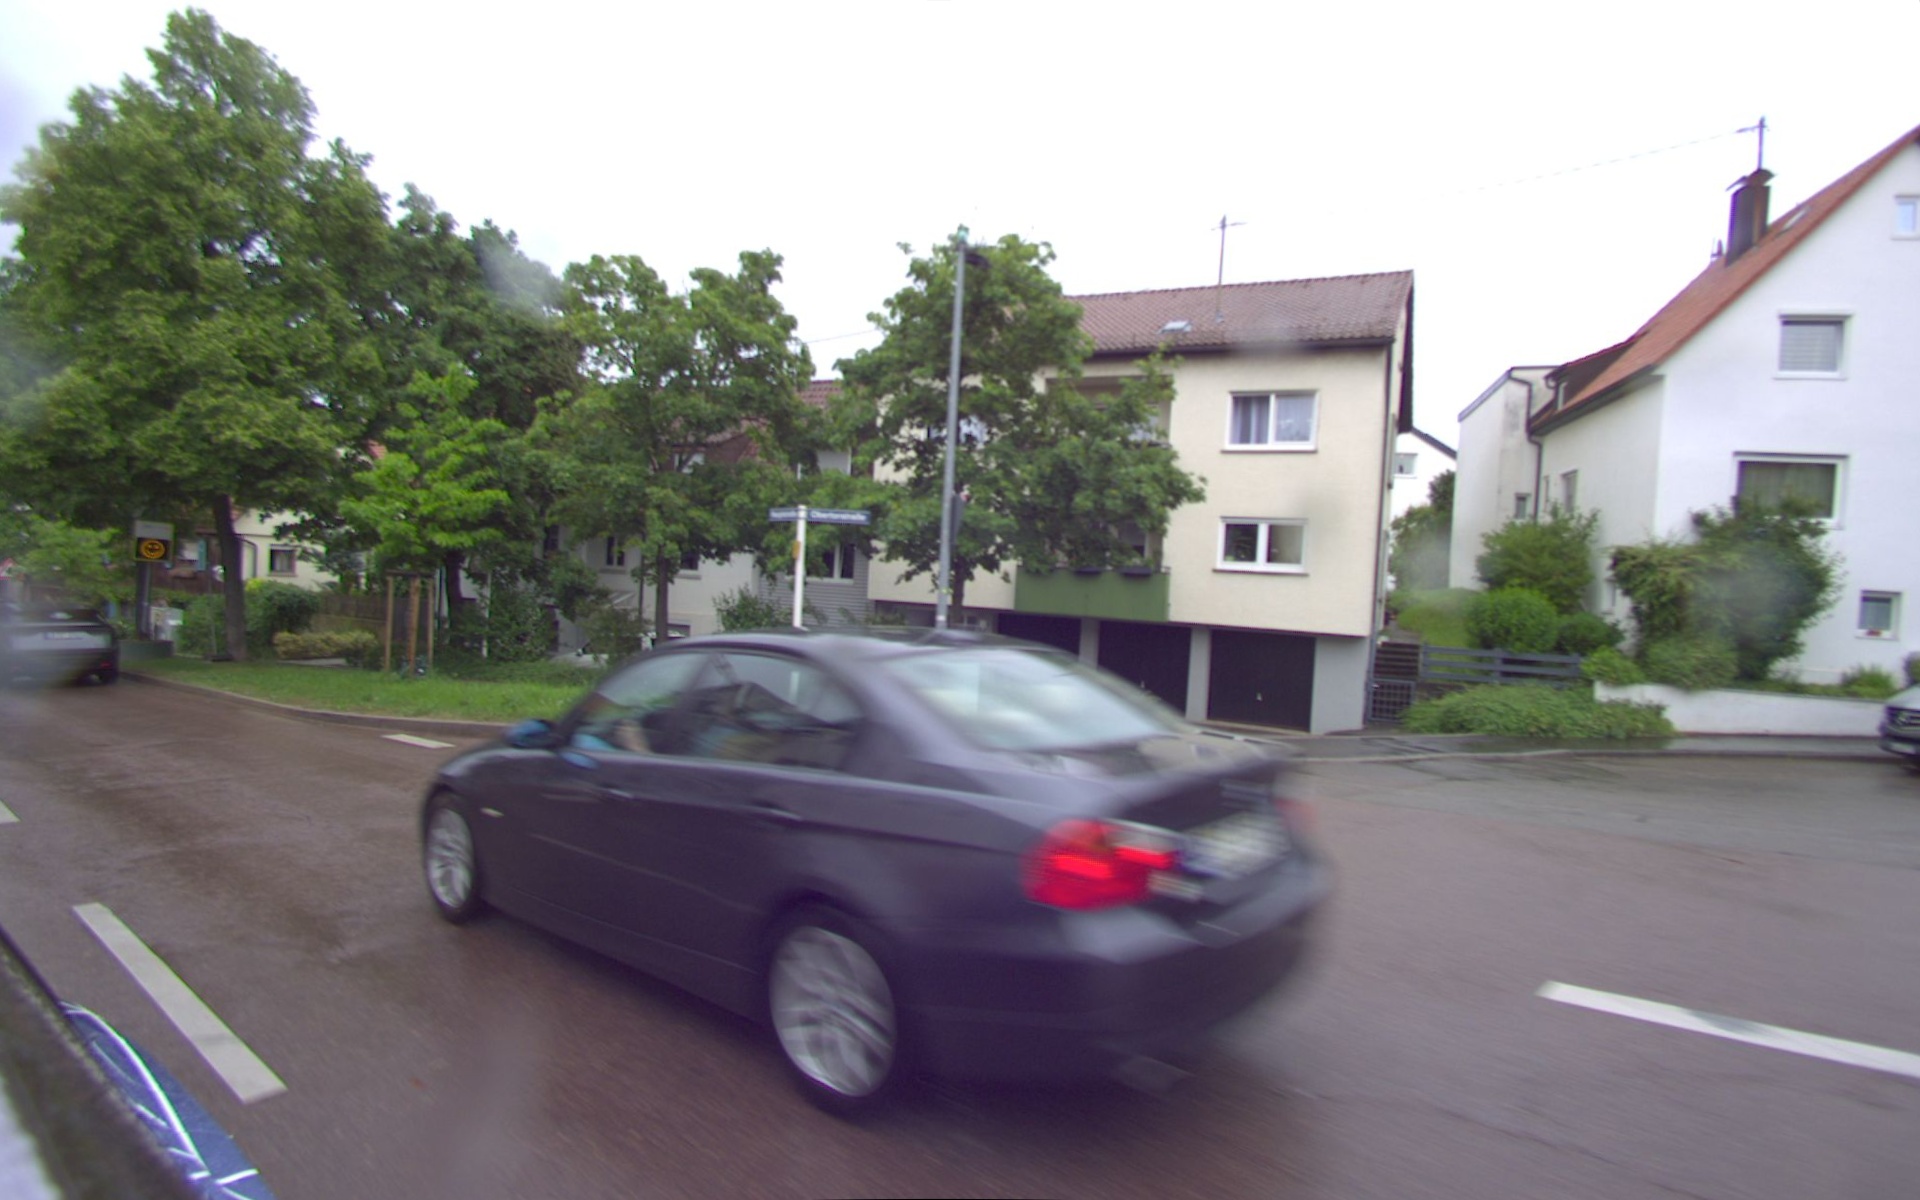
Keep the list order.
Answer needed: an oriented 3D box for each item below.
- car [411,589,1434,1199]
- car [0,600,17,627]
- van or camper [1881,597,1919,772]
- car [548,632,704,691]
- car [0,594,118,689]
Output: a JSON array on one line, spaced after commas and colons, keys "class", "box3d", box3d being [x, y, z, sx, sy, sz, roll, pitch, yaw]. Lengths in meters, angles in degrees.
[{"class": "car", "box3d": [-0.539, 0.729, 3.968, 4.083, 1.465, 1.544, -1, -1, 42]}, {"class": "car", "box3d": [-57.658, 0.781, 59.231, 3.961, 1.544, 1.719, 0, -1, 14]}, {"class": "van or camper", "box3d": [17.163, 1.244, 14.406, 5.999, 2.576, 1.636, 0, 1, 11]}, {"class": "car", "box3d": [-8.604, 1.543, 26.104, 3.429, 1.339, 1.982, 0, -1, 26]}, {"class": "car", "box3d": [-18.262, 0.762, 20.039, 4.373, 1.701, 1.733, -1, -1, 40]}]
